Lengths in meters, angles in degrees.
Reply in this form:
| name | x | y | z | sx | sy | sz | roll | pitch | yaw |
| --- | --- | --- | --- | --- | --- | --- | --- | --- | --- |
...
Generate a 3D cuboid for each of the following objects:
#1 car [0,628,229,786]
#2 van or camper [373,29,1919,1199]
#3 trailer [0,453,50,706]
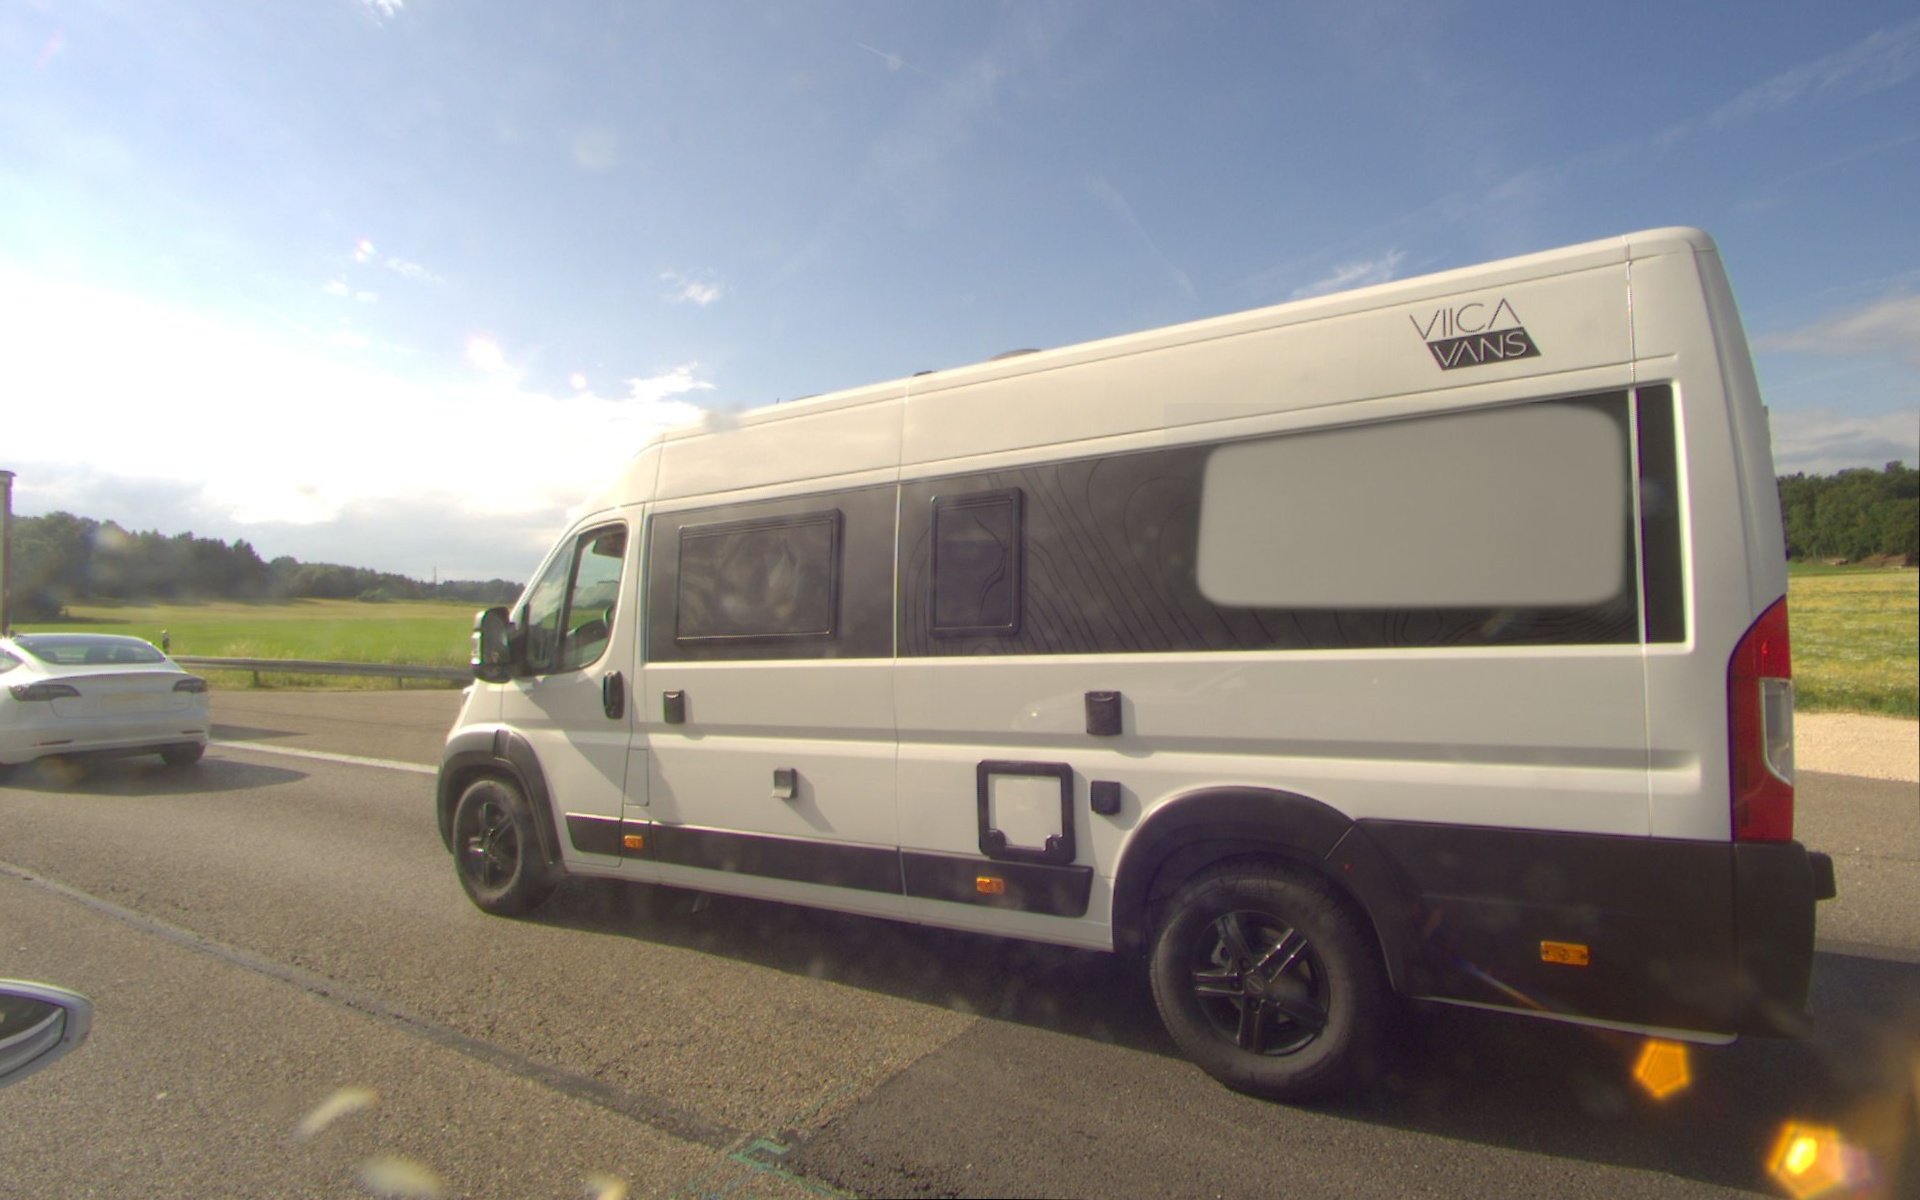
| name | x | y | z | sx | sy | sz | roll | pitch | yaw |
| --- | --- | --- | --- | --- | --- | --- | --- | --- | --- |
| car | -10.081 | 1.030 | 11.011 | 4.372 | 1.412 | 1.786 | -1 | -1 | 31 |
| van or camper | 0.025 | 0.190 | 4.756 | 6.241 | 2.716 | 2.211 | -1 | -1 | 32 |
| trailer | -21.452 | -0.141 | 18.882 | 13.181 | 4.061 | 3.125 | -2 | -2 | 33 |
